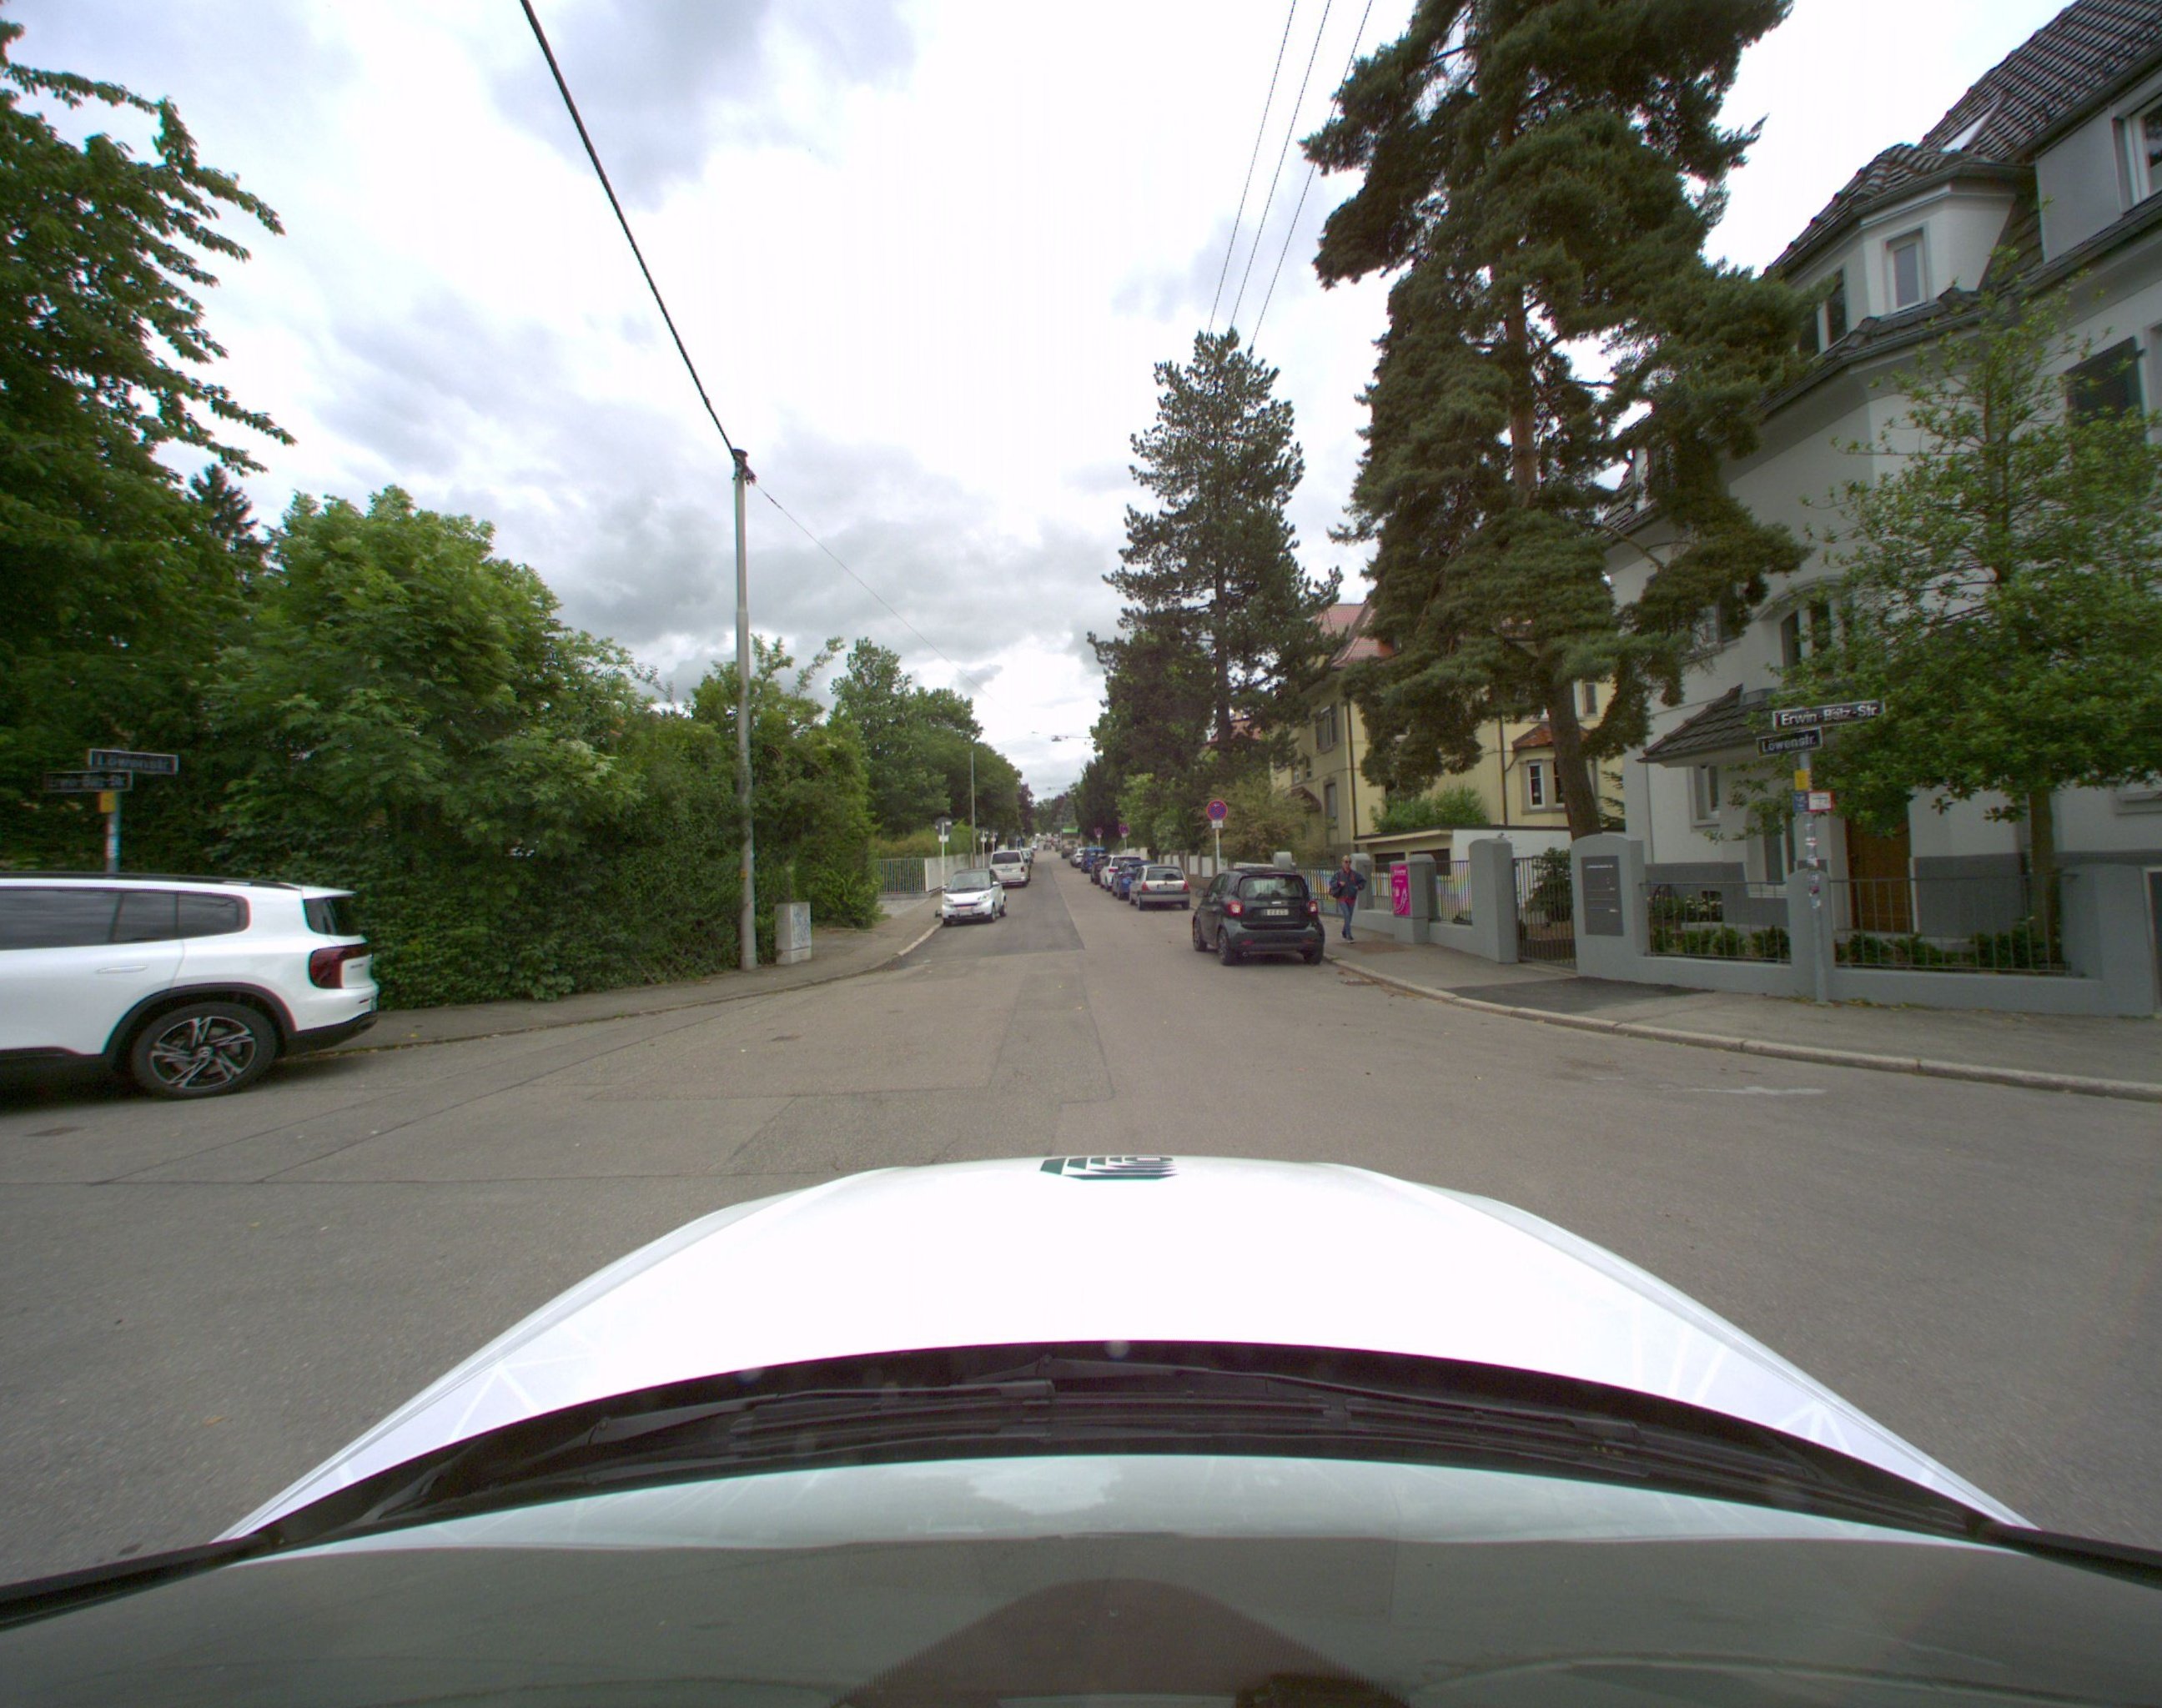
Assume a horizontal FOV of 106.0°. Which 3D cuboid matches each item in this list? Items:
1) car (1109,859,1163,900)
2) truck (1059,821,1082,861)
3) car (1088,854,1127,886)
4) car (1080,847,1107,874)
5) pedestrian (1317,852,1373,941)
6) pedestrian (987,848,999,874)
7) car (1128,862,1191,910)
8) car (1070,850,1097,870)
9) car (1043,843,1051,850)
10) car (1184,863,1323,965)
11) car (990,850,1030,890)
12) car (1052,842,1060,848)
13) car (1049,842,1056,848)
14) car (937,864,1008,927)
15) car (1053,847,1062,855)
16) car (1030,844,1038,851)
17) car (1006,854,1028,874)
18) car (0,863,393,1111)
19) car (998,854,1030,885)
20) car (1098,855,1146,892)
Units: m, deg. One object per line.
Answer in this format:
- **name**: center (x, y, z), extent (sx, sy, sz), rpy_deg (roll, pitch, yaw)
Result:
- **car**: center (2.081, 0.950, 31.634), extent (1.643, 1.458, 4.048), rpy_deg (0, 0, -3)
- **truck**: center (-1.325, -1.554, 99.671), extent (2.518, 4.748, 7.181), rpy_deg (-1, 1, -2)
- **car**: center (1.373, 0.810, 43.526), extent (1.746, 1.608, 4.071), rpy_deg (0, 0, -3)
- **car**: center (0.868, 0.425, 58.304), extent (1.679, 1.829, 4.152), rpy_deg (0, 1, -3)
- **pedestrian**: center (4.942, 0.791, 15.278), extent (0.678, 1.577, 0.907), rpy_deg (-4, -2, 3)
- **pedestrian**: center (-6.941, 0.561, 64.014), extent (0.809, 2.013, 0.859), rpy_deg (-1, 1, -2)
- **car**: center (2.490, 0.997, 26.620), extent (1.570, 1.400, 3.652), rpy_deg (0, 0, -2)
- **car**: center (0.162, 0.458, 69.049), extent (1.755, 1.606, 4.565), rpy_deg (-1, 1, -6)
- **car**: center (-7.727, -1.685, 183.587), extent (1.630, 1.701, 3.490), rpy_deg (-1, 1, -4)
- **car**: center (2.883, 0.959, 14.133), extent (1.569, 1.532, 2.862), rpy_deg (1, 0, -5)
- **car**: center (-3.747, 0.818, 43.689), extent (1.850, 1.913, 4.615), rpy_deg (-4, 0, -3)
- **car**: center (-6.571, -2.369, 212.720), extent (1.806, 1.335, 3.628), rpy_deg (0, 2, -4)
- **car**: center (-7.768, -2.426, 221.573), extent (1.784, 1.529, 3.732), rpy_deg (-1, 1, -1)
- **car**: center (-3.154, 1.180, 24.149), extent (1.436, 1.552, 2.773), rpy_deg (-5, 0, 4)
- **car**: center (-4.927, -0.667, 169.122), extent (1.775, 1.489, 3.995), rpy_deg (-2, 1, -4)
- **car**: center (-10.853, -1.479, 188.891), extent (1.706, 1.586, 4.000), rpy_deg (-1, 1, 0)
- **car**: center (-5.344, 0.825, 68.044), extent (1.620, 1.533, 2.956), rpy_deg (-4, 1, -6)
- **car**: center (-8.055, 0.893, 5.958), extent (4.537, 1.655, 1.813), rpy_deg (2, -2, -39)
- **car**: center (-4.097, 0.903, 49.569), extent (1.788, 1.623, 4.335), rpy_deg (-3, 1, -5)
- **car**: center (1.848, 0.846, 37.998), extent (1.781, 1.603, 4.298), rpy_deg (0, 0, -4)
